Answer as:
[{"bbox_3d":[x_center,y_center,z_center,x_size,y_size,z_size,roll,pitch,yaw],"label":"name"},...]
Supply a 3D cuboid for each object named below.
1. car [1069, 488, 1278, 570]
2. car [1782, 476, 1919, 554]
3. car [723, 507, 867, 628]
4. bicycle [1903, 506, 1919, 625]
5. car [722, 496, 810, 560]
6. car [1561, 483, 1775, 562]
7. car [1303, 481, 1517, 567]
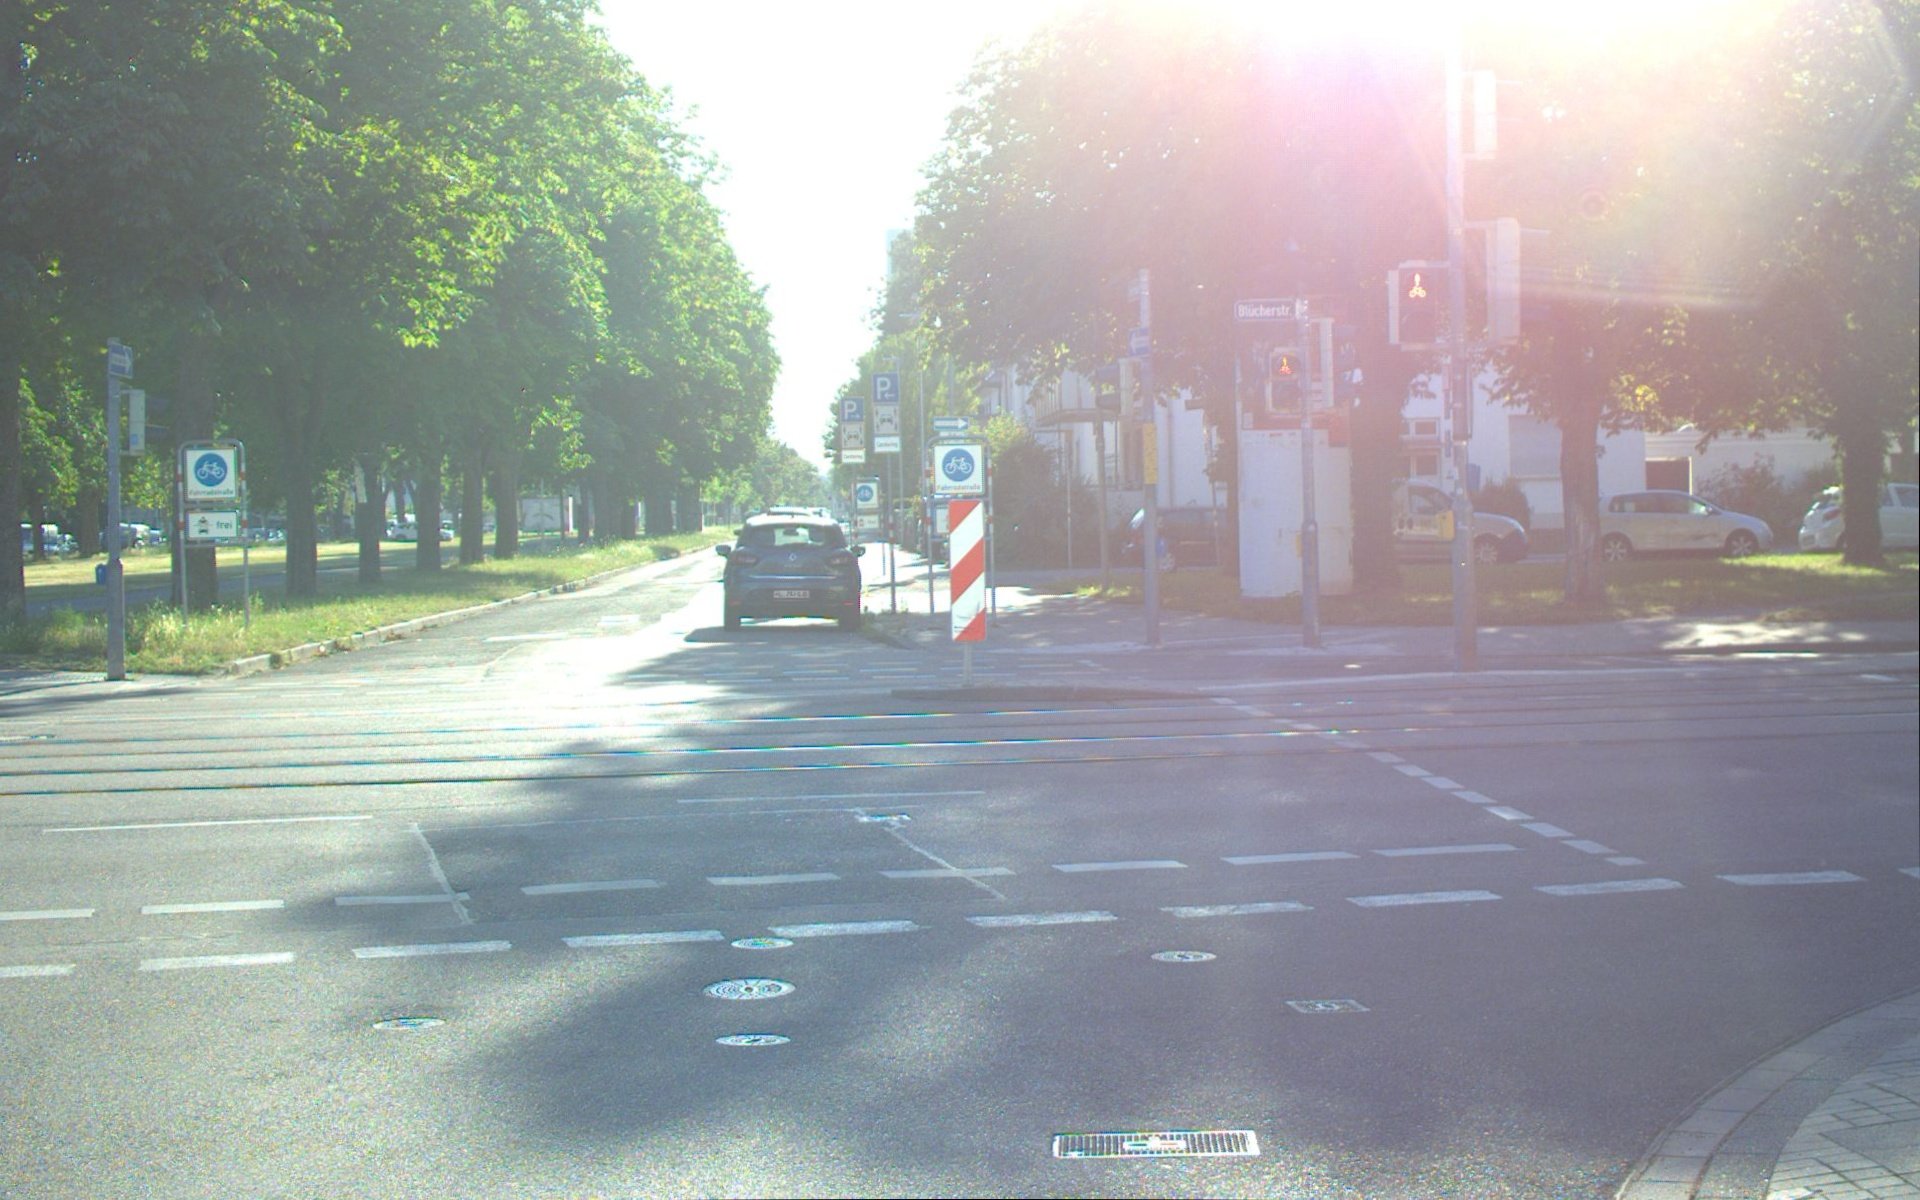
[{"bbox_3d":[4.013,-1.353,64.979,3.779,1.422,1.744,-1,3,-2],"label":"car"},{"bbox_3d":[17.925,-1.650,66.019,3.844,1.422,1.598,-1,1,-6],"label":"car"},{"bbox_3d":[-2.069,-0.443,43.878,1.641,1.446,3.307,-1,2,0],"label":"car"},{"bbox_3d":[10.080,-0.352,32.849,1.954,1.128,0.620,-1,1,1],"label":"bicycle"},{"bbox_3d":[-4.361,-1.647,77.773,1.845,1.389,3.829,-1,2,-1],"label":"car"},{"bbox_3d":[13.424,-1.475,65.249,3.662,1.422,1.532,-1,1,-6],"label":"car"},{"bbox_3d":[8.519,-1.460,65.304,3.779,1.520,1.744,-1,3,-2],"label":"car"}]
